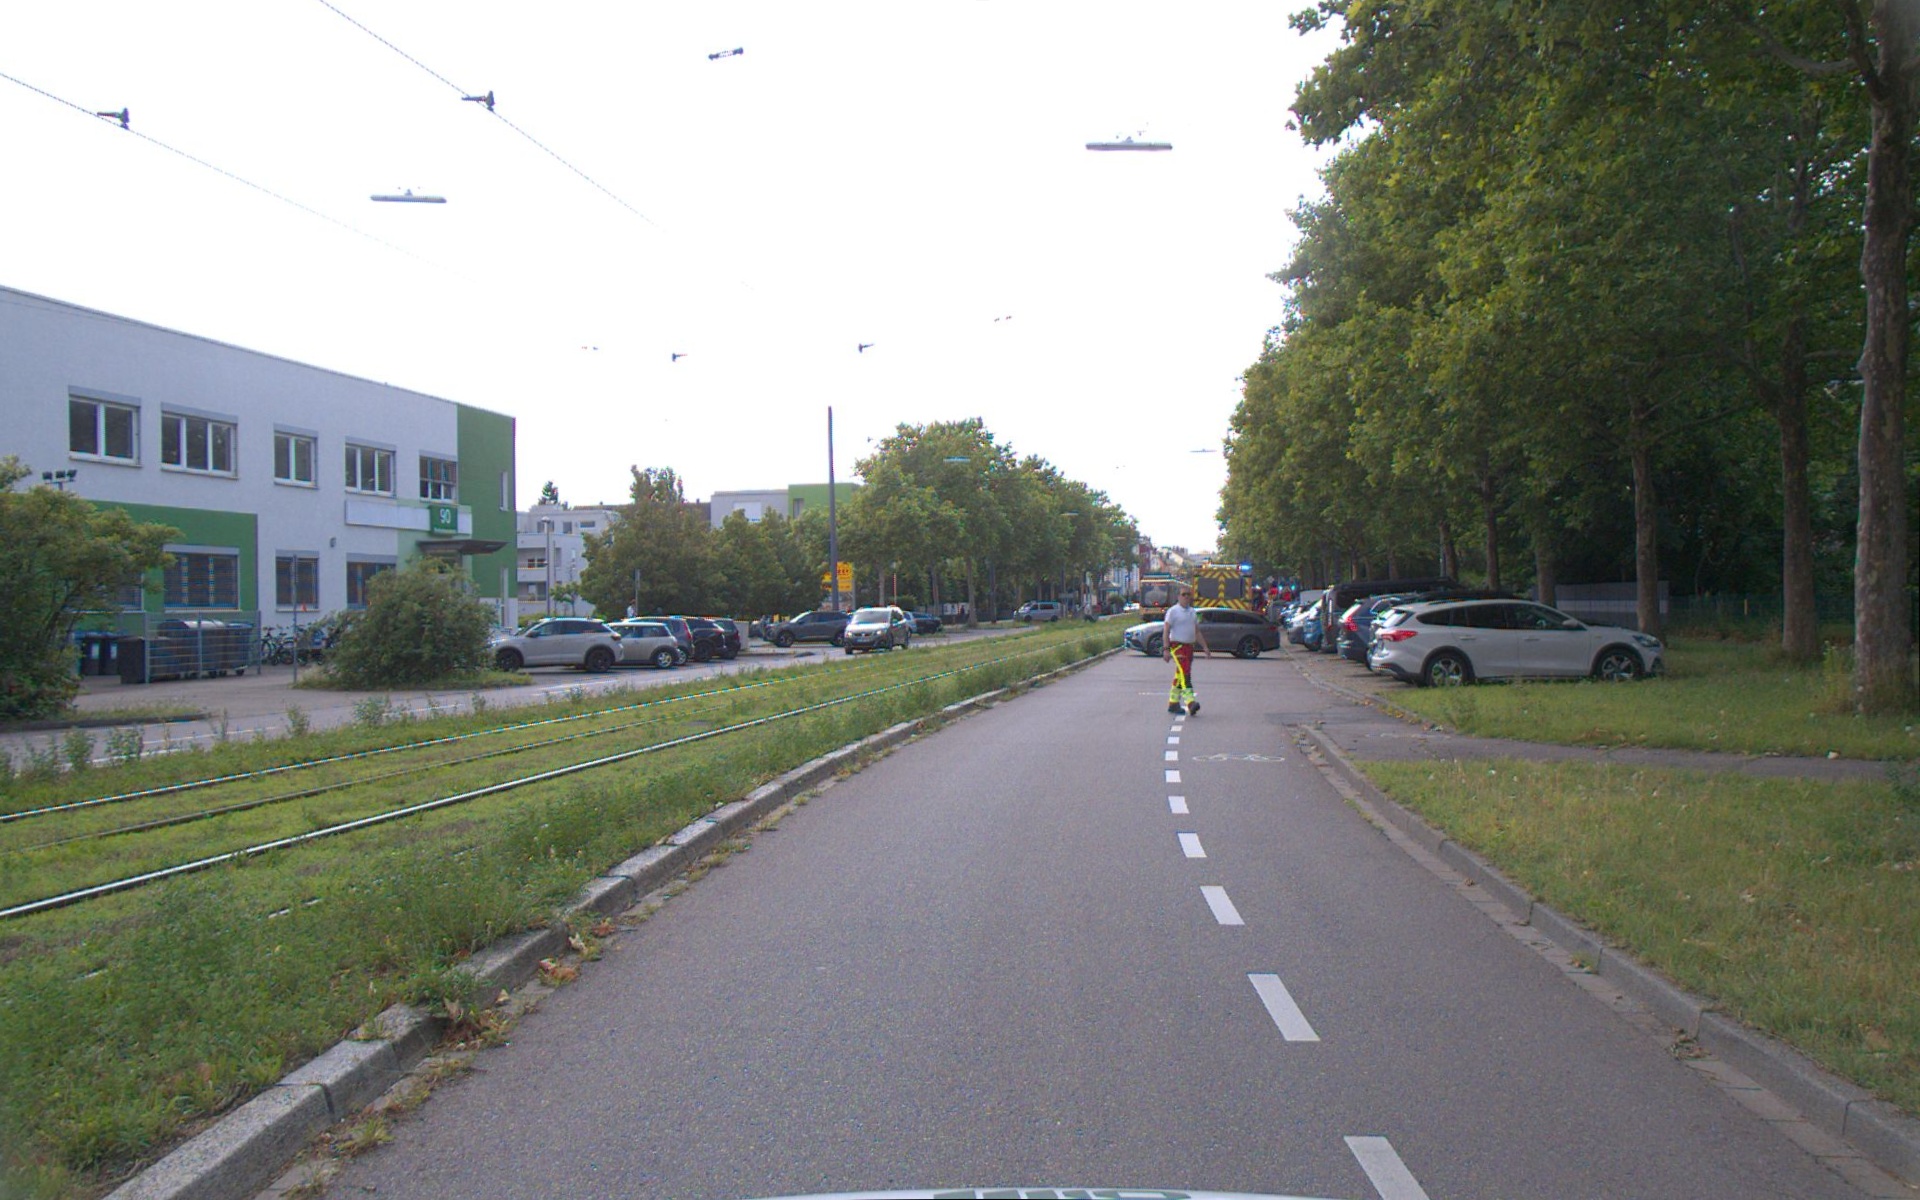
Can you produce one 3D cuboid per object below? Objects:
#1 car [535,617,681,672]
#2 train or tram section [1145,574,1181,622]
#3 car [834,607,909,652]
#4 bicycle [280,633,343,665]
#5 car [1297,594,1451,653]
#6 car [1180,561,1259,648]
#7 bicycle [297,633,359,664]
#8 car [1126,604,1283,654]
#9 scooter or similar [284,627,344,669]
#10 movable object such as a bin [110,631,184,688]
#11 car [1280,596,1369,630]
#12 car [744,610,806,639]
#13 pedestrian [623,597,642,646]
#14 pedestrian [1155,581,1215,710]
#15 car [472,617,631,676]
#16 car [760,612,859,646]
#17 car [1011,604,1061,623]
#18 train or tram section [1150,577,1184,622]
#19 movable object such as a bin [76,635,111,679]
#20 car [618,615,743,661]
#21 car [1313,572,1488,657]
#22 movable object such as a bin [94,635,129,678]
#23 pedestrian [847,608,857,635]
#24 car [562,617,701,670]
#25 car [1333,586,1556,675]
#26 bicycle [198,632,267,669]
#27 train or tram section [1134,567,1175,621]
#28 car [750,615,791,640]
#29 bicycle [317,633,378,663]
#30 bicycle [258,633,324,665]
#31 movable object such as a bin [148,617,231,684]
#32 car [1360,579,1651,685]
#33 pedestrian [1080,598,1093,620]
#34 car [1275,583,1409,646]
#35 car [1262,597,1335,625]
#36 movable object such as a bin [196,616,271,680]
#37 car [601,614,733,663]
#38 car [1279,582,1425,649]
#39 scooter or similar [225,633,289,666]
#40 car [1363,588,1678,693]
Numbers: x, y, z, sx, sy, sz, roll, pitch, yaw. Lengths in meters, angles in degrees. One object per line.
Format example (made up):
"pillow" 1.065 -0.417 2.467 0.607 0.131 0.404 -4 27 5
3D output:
"car" -10.761 1.349 50.527 4.158 1.508 1.873 -2 0 -20
"train or tram section" 16.430 -0.098 133.574 2.458 3.647 7.451 -3 -1 9
"car" -3.339 1.096 63.228 1.951 1.585 4.373 -2 0 9
"bicycle" -19.705 1.483 50.267 1.818 0.915 0.459 1 -1 10
"car" 13.048 0.745 52.311 4.449 1.689 1.857 -2 -1 5
"car" 9.817 0.176 62.199 2.585 3.018 6.304 2 0 11
"bicycle" -19.542 1.499 51.154 1.818 0.915 0.459 1 -1 10
"car" 7.213 0.848 49.068 4.363 1.410 1.766 1 0 -2
"scooter or similar" -18.569 1.371 47.545 1.282 1.176 1.089 0 -1 39
"movable object such as a bin" -19.028 1.370 38.719 0.984 1.255 1.257 0 1 12
"car" 19.593 0.693 89.086 4.449 1.637 1.857 -2 -1 6
"car" -12.176 1.589 108.707 3.928 1.780 1.988 1 0 42
"pedestrian" -12.530 0.820 63.221 0.534 1.860 0.509 -1 -1 8
"pedestrian" 3.049 0.615 22.502 0.786 1.716 0.851 0 -1 7
"car" -11.711 1.315 47.439 4.167 1.508 1.869 -2 0 -25
"car" -6.686 1.278 73.544 4.151 1.508 1.876 0 -1 -15
"car" 7.430 1.316 161.312 4.563 1.661 1.865 -1 0 -30
"train or tram section" 17.645 0.029 140.878 2.458 3.647 7.451 -3 -1 9
"movable object such as a bin" -21.683 1.428 41.391 0.556 1.060 0.565 0 1 10
"car" -10.048 1.346 59.388 4.158 1.508 1.873 -2 0 -20
"car" 12.153 0.412 45.891 4.448 2.160 1.857 -2 -1 9
"movable object such as a bin" -21.570 1.420 42.045 0.556 1.060 0.565 0 1 10
"pedestrian" -6.709 1.326 102.381 0.456 1.706 0.604 -1 -1 8
"car" -10.583 1.380 53.299 4.158 1.508 1.873 -2 0 -20
"car" 10.034 0.637 34.539 4.287 1.668 1.757 -2 -1 12
"bicycle" -20.294 1.412 46.140 1.818 1.003 0.459 1 -1 10
"train or tram section" 14.009 -0.354 118.884 2.458 3.647 7.451 -3 -1 9
"car" -14.176 2.027 123.750 1.951 1.780 4.003 1 0 10
"bicycle" -19.316 1.519 52.187 1.818 0.915 0.459 1 -1 10
"bicycle" -19.876 1.463 49.134 1.818 0.915 0.459 1 -1 10
"movable object such as a bin" -18.718 1.207 40.225 0.984 1.546 1.713 0 1 12
"car" 9.560 0.557 29.281 4.559 1.654 1.849 -2 0 6
"pedestrian" 8.812 0.636 115.207 0.862 1.552 0.751 1 -1 9
"car" 13.689 0.524 59.448 4.449 2.079 1.857 -2 -1 6
"car" 21.874 0.732 107.065 4.449 1.637 1.857 -2 -1 6
"movable object such as a bin" -18.387 1.192 41.891 0.984 1.546 1.606 0 1 12
"car" -9.992 1.297 56.325 4.158 1.508 1.873 -2 0 -20
"car" 12.966 0.518 54.929 4.449 2.036 1.857 -2 -1 6
"scooter or similar" -20.259 1.429 47.651 1.698 0.915 0.459 1 -1 10
"car" 9.070 0.646 27.099 4.559 1.499 1.849 -2 0 6
